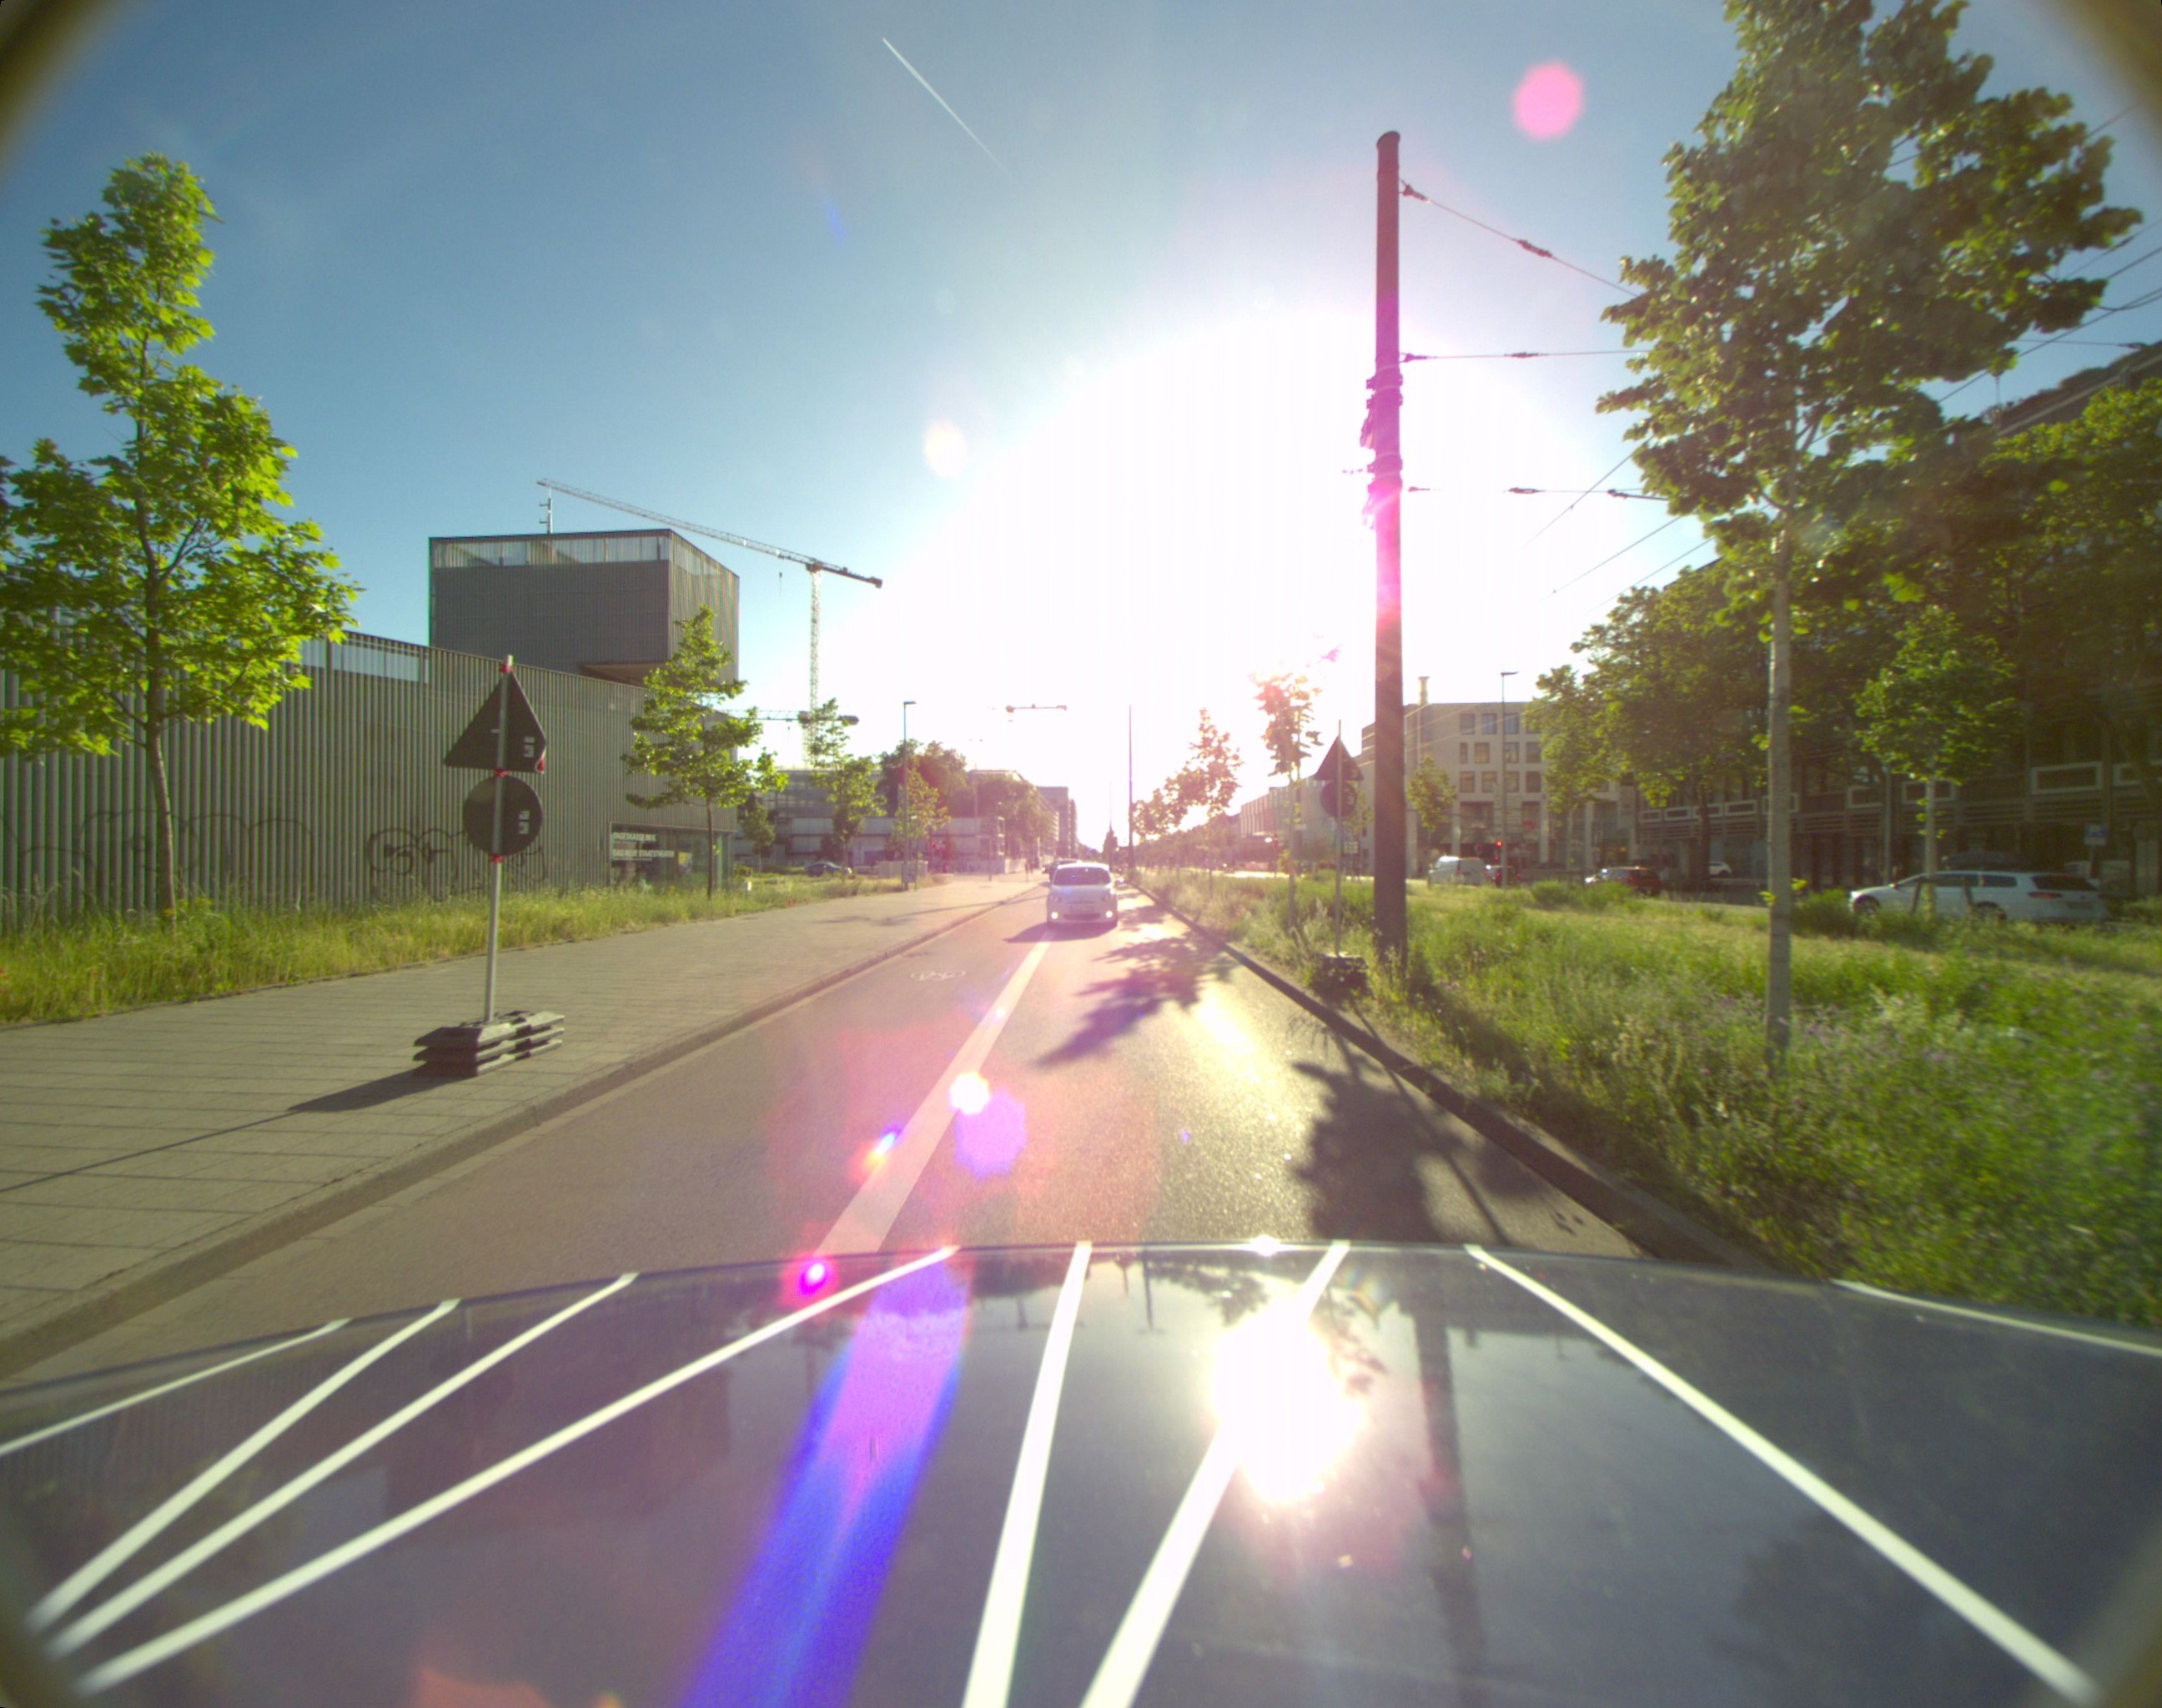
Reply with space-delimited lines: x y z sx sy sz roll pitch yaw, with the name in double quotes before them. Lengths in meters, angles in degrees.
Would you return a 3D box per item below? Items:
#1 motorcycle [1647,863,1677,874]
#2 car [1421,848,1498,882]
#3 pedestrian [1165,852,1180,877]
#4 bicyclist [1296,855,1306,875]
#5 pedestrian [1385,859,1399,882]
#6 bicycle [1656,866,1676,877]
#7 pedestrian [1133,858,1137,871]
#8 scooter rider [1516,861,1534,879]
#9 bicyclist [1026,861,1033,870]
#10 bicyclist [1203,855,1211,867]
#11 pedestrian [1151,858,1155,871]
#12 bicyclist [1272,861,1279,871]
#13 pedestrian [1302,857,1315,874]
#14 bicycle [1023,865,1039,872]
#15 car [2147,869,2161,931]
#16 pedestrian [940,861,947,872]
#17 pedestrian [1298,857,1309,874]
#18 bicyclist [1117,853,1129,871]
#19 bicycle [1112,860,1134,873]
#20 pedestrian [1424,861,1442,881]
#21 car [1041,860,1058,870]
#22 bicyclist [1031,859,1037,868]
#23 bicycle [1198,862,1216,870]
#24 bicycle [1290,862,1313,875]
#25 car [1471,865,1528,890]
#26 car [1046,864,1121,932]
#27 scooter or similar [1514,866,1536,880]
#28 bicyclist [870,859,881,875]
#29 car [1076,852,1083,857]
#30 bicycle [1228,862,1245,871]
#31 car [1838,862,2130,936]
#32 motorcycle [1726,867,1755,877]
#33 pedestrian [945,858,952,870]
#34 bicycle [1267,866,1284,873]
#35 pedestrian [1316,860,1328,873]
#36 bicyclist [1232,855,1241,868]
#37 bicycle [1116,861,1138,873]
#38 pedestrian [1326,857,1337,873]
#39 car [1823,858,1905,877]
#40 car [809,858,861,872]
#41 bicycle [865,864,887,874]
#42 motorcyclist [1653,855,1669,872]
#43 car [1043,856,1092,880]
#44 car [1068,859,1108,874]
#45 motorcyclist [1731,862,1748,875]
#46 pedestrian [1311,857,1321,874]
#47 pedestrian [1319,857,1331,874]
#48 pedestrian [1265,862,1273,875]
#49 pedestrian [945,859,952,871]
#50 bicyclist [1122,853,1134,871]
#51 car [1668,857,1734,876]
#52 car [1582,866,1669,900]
"motorcycle" 51.583 1.271 67.458 1.956 0.963 0.758 0 1 12
"car" 24.194 0.696 48.859 2.264 2.002 5.710 2 0 3
"pedestrian" 6.914 0.792 57.645 1.050 1.900 1.015 0 0 2
"bicyclist" 18.740 0.921 64.697 0.785 1.659 0.702 0 0 8
"pedestrian" 24.384 1.285 59.655 0.739 1.734 0.858 -1 0 -1
"bicycle" 65.930 1.966 85.603 0.659 1.104 2.478 0 0 9
"pedestrian" 6.866 1.323 96.087 0.450 1.557 0.520 0 0 7
"scooter rider" 38.578 1.382 66.042 1.116 1.535 0.644 0 1 4
"bicyclist" -6.983 1.531 102.576 0.636 1.263 0.807 -1 0 23
"bicyclist" 15.355 0.834 92.740 0.842 1.394 0.806 -1 0 4
"pedestrian" 9.100 1.338 96.461 0.450 1.557 0.520 0 0 7
"bicyclist" 24.590 1.523 96.189 0.840 1.349 0.806 -1 0 11
"pedestrian" 27.783 1.377 92.964 1.100 2.116 1.060 0 1 -36
"bicycle" -6.749 1.898 102.483 2.072 0.922 0.807 -1 0 23
"car" 30.639 1.246 18.686 1.999 1.670 4.868 -1 0 -1
"pedestrian" -18.102 1.588 99.967 0.653 1.445 0.604 0 0 7
"pedestrian" 27.645 1.380 94.548 0.949 2.111 0.896 0 1 -35
"bicyclist" 3.671 0.678 66.318 0.896 1.565 0.624 0 0 -29
"bicycle" 3.662 1.116 66.314 1.819 1.110 0.624 0 0 -29
"pedestrian" 28.095 1.330 60.668 0.923 1.540 0.898 -2 0 -2
"car" -4.384 1.548 107.226 1.998 1.368 4.001 -1 0 3
"bicyclist" -6.481 1.300 105.106 0.805 1.290 0.776 -1 0 -2
"bicycle" 15.404 1.482 92.728 2.075 0.973 0.806 -1 0 4
"bicycle" 18.743 1.201 64.708 1.798 1.087 0.709 0 0 8
"car" 27.314 1.499 49.708 1.844 1.477 3.882 3 0 6
"car" 0.145 1.003 18.955 1.659 1.463 3.970 -1 0 3
"scooter or similar" 38.582 1.666 66.042 1.482 1.169 0.644 0 1 4
"bicyclist" -19.824 1.272 73.384 0.937 1.495 0.624 0 1 -2
"car" -0.419 0.115 209.593 1.785 1.317 3.999 0 1 1
"bicycle" 18.940 1.512 92.465 1.976 0.991 0.649 -1 0 7
"car" 22.618 1.039 19.409 1.845 1.585 4.692 0 0 0
"motorcycle" 72.835 1.993 83.925 0.915 0.990 2.676 0 1 1
"pedestrian" -17.743 1.333 101.802 0.653 1.670 0.841 0 0 7
"bicycle" 24.602 1.961 96.189 2.074 0.922 0.806 -1 0 10
"pedestrian" 29.252 1.498 92.254 0.950 1.641 1.005 0 1 -37
"bicyclist" 18.928 0.956 92.471 0.940 1.536 0.649 -1 0 7
"bicycle" 3.999 1.122 65.636 1.803 1.087 0.651 0 0 -29
"pedestrian" 31.405 1.375 95.310 1.025 2.002 0.915 0 0 -33
"car" 70.104 1.178 68.106 4.785 1.652 2.202 0 0 7
"car" -24.370 1.100 75.304 4.520 1.344 1.778 0 1 8
"bicycle" -19.814 1.440 73.384 1.909 0.903 0.624 0 1 -2
"motorcyclist" 51.520 0.863 67.468 0.880 1.475 0.758 0 1 12
"car" -1.026 0.980 53.974 2.002 1.652 4.784 0 0 -21
"car" 0.829 1.387 85.075 4.289 1.571 1.945 0 0 5
"motorcyclist" 72.824 1.595 83.996 0.915 1.463 1.039 0 2 1
"pedestrian" 29.687 1.419 95.987 0.948 2.111 0.896 0 0 -31
"pedestrian" 30.330 1.425 94.434 1.025 2.002 0.915 0 0 -30
"pedestrian" 23.173 1.762 93.587 0.840 1.562 0.946 0 0 9
"pedestrian" -17.533 1.398 100.726 0.653 1.579 0.841 0 0 7
"bicyclist" 4.035 0.676 65.640 0.849 1.534 0.651 0 0 -28
"car" 60.959 1.210 74.743 4.544 1.703 2.126 0 1 11
"car" 26.520 1.385 37.127 1.714 1.444 3.576 3 0 2
